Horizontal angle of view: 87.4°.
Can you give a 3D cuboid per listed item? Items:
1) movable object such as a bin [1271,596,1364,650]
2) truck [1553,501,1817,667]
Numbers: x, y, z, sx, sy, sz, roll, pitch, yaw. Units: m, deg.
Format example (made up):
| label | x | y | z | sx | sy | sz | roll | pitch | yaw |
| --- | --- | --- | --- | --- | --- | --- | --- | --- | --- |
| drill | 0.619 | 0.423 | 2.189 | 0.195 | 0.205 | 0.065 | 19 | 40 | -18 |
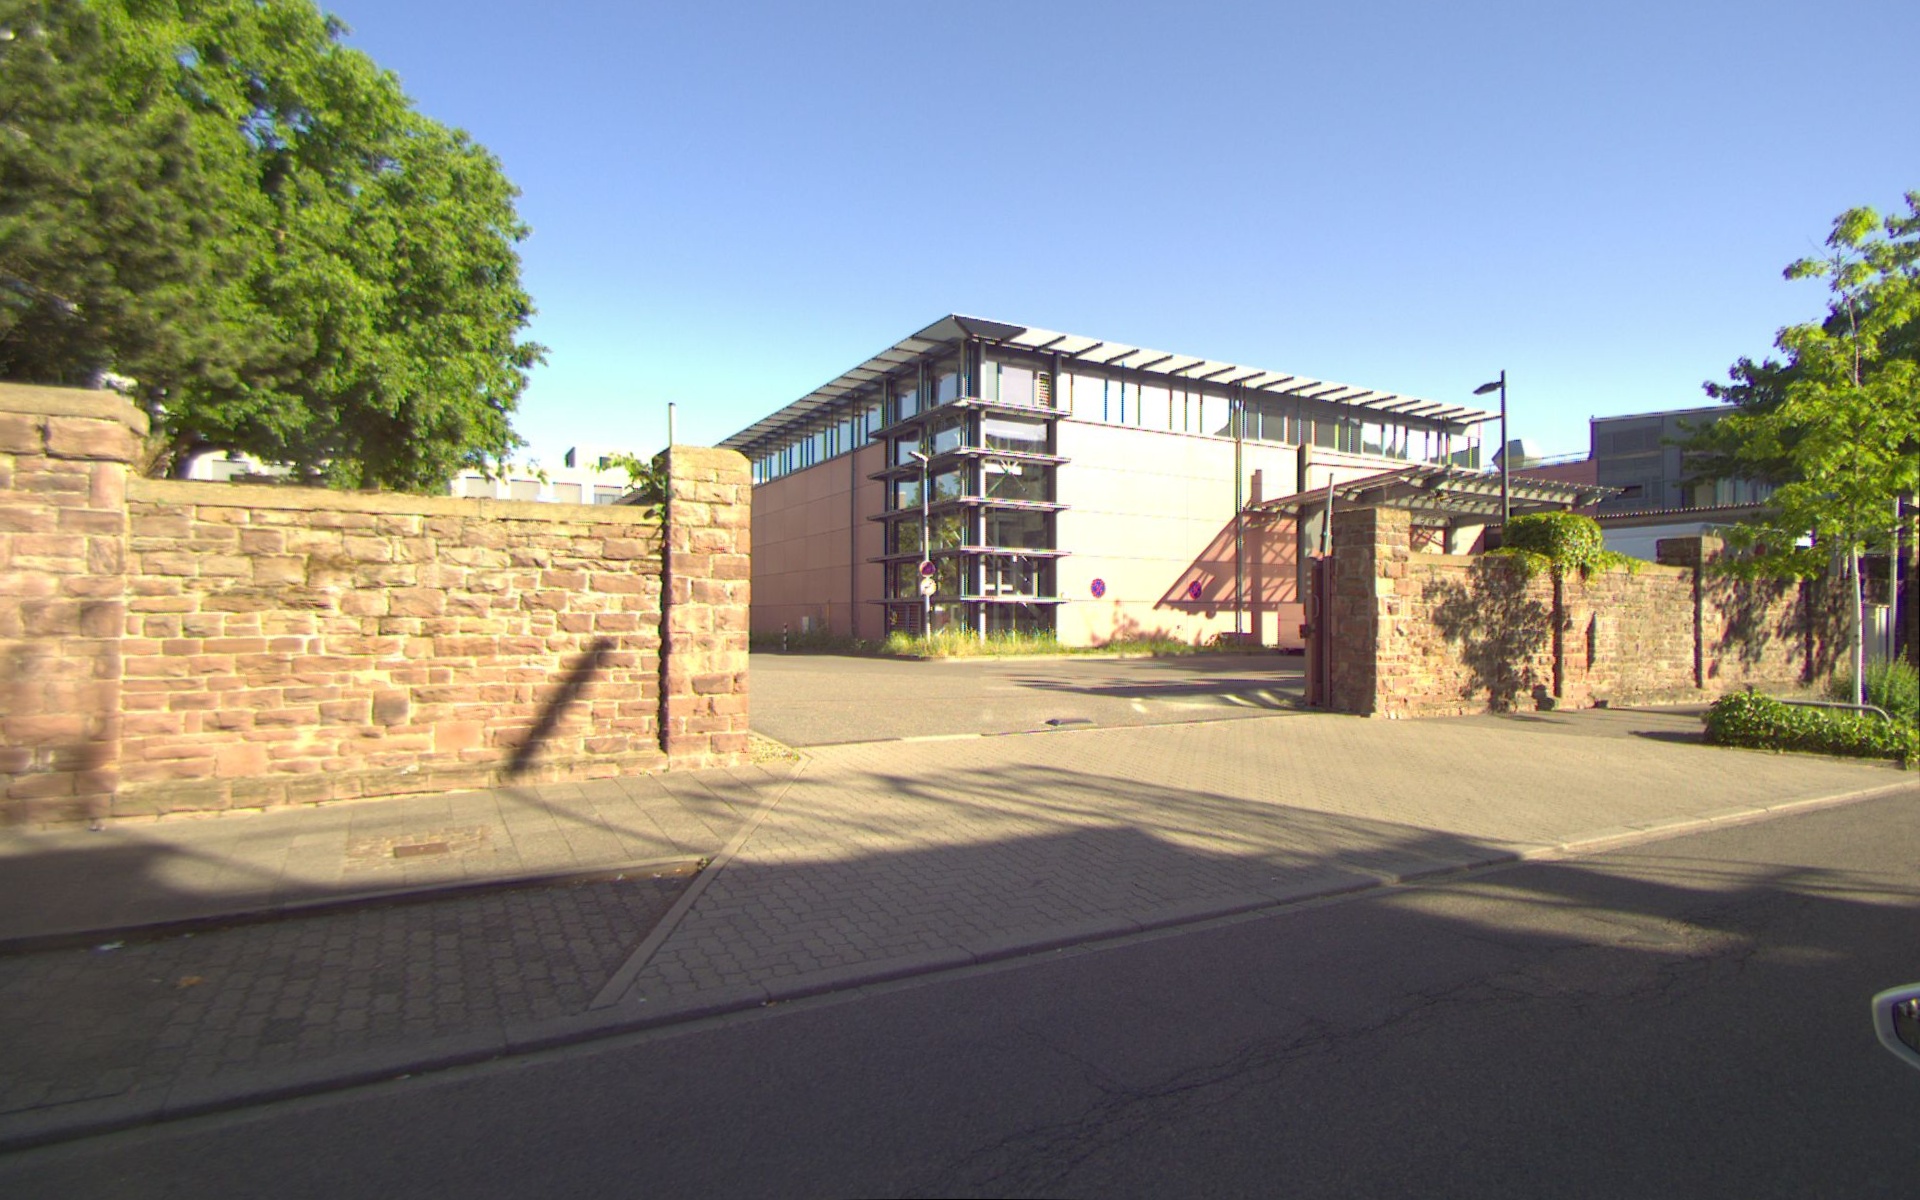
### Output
| label | x | y | z | sx | sy | sz | roll | pitch | yaw |
| --- | --- | --- | --- | --- | --- | --- | --- | --- | --- |
| movable object such as a bin | 10.873 | 0.684 | 30.551 | 2.526 | 1.559 | 1.400 | 1 | 1 | -32 |
| truck | 18.745 | -0.345 | 25.860 | 7.341 | 3.761 | 2.719 | 1 | 1 | -30 |
